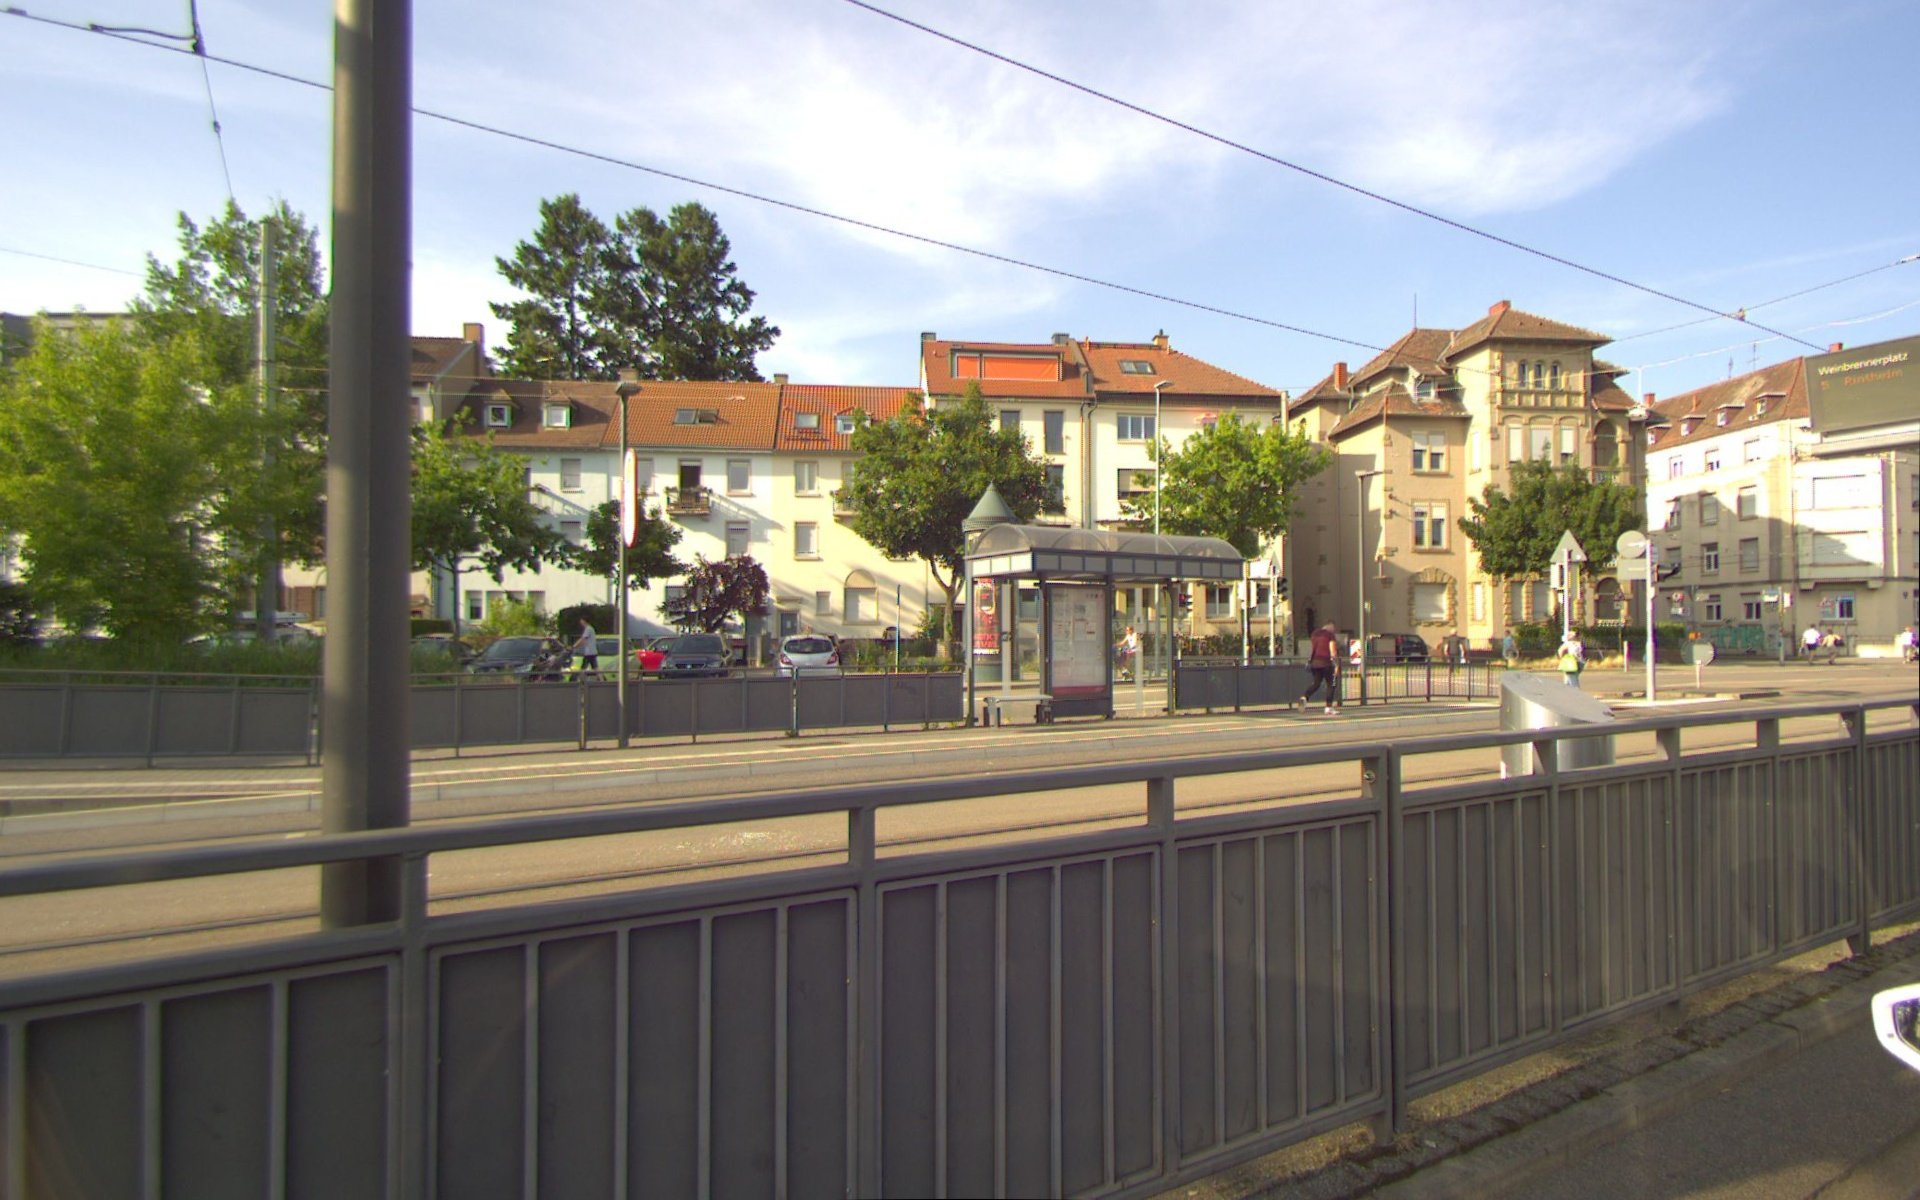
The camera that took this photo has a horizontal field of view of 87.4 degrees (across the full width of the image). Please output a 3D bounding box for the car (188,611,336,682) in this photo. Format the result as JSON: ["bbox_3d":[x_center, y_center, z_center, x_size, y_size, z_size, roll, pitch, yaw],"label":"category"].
[{"bbox_3d":[-18.965,1.252,27.530,1.822,1.777,3.993,0,-2,-11],"label":"car"}]

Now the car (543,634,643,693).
[{"bbox_3d":[-9.732,1.643,26.938,1.740,1.447,3.995,0,-2,-9],"label":"car"}]

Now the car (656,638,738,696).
[{"bbox_3d":[-7.070,1.761,27.345,1.740,1.447,3.995,0,-2,-9],"label":"car"}]

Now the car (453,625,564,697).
[{"bbox_3d":[-11.975,1.583,26.910,1.822,1.777,3.993,0,-2,-11],"label":"car"}]

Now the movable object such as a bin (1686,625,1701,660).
[{"bbox_3d":[36.849,2.141,50.465,0.259,1.732,2.379,-1,-2,29],"label":"movable object such as a bin"}]

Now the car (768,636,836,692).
[{"bbox_3d":[-4.373,1.727,27.973,1.740,1.447,3.995,0,-2,-9],"label":"car"}]

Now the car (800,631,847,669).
[{"bbox_3d":[-5.993,2.193,44.389,1.821,1.578,3.998,0,-2,-4],"label":"car"}]

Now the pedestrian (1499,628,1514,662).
[{"bbox_3d":[24.302,2.002,44.657,0.382,1.535,0.405,0,-2,-3],"label":"pedestrian"}]

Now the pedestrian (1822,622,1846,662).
[{"bbox_3d":[41.433,1.973,47.624,0.642,1.872,0.670,1,-2,-32],"label":"pedestrian"}]

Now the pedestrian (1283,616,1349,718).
[{"bbox_3d":[6.088,1.126,17.176,0.874,1.692,0.666,1,-2,-33],"label":"pedestrian"}]

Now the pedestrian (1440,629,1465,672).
[{"bbox_3d":[19.288,1.962,39.332,0.592,1.673,0.681,0,-1,-3],"label":"pedestrian"}]

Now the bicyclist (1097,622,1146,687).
[{"bbox_3d":[4.275,1.432,26.544,1.058,1.646,0.702,0,1,-29],"label":"bicyclist"}]

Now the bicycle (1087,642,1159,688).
[{"bbox_3d":[4.319,1.698,26.601,1.842,1.125,0.722,1,1,-30],"label":"bicycle"}]

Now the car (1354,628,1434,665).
[{"bbox_3d":[20.264,2.146,47.105,1.742,1.653,3.998,0,-2,-5],"label":"car"}]

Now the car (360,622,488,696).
[{"bbox_3d":[-13.888,1.501,26.292,1.822,1.777,3.993,0,-2,-11],"label":"car"}]

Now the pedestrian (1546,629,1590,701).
[{"bbox_3d":[13.960,1.481,23.061,0.708,1.610,0.586,1,-2,-34],"label":"pedestrian"}]

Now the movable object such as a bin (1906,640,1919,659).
[{"bbox_3d":[47.089,2.431,49.450,0.655,0.959,0.580,1,-2,-31],"label":"movable object such as a bin"}]

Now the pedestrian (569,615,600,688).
[{"bbox_3d":[-8.768,1.202,23.488,0.661,1.677,0.370,0,-2,-19],"label":"pedestrian"}]

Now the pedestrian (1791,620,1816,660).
[{"bbox_3d":[40.728,1.920,48.493,0.616,1.905,0.659,0,-2,-15],"label":"pedestrian"}]

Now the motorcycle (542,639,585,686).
[{"bbox_3d":[-9.182,1.437,23.306,0.907,1.065,0.499,1,-2,-20],"label":"motorcycle"}]

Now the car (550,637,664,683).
[{"bbox_3d":[-12.185,2.063,34.865,3.444,1.544,1.567,0,-2,-7],"label":"car"}]

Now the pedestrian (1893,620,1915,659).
[{"bbox_3d":[46.232,1.947,49.216,0.619,1.905,0.582,0,-2,-28],"label":"pedestrian"}]
